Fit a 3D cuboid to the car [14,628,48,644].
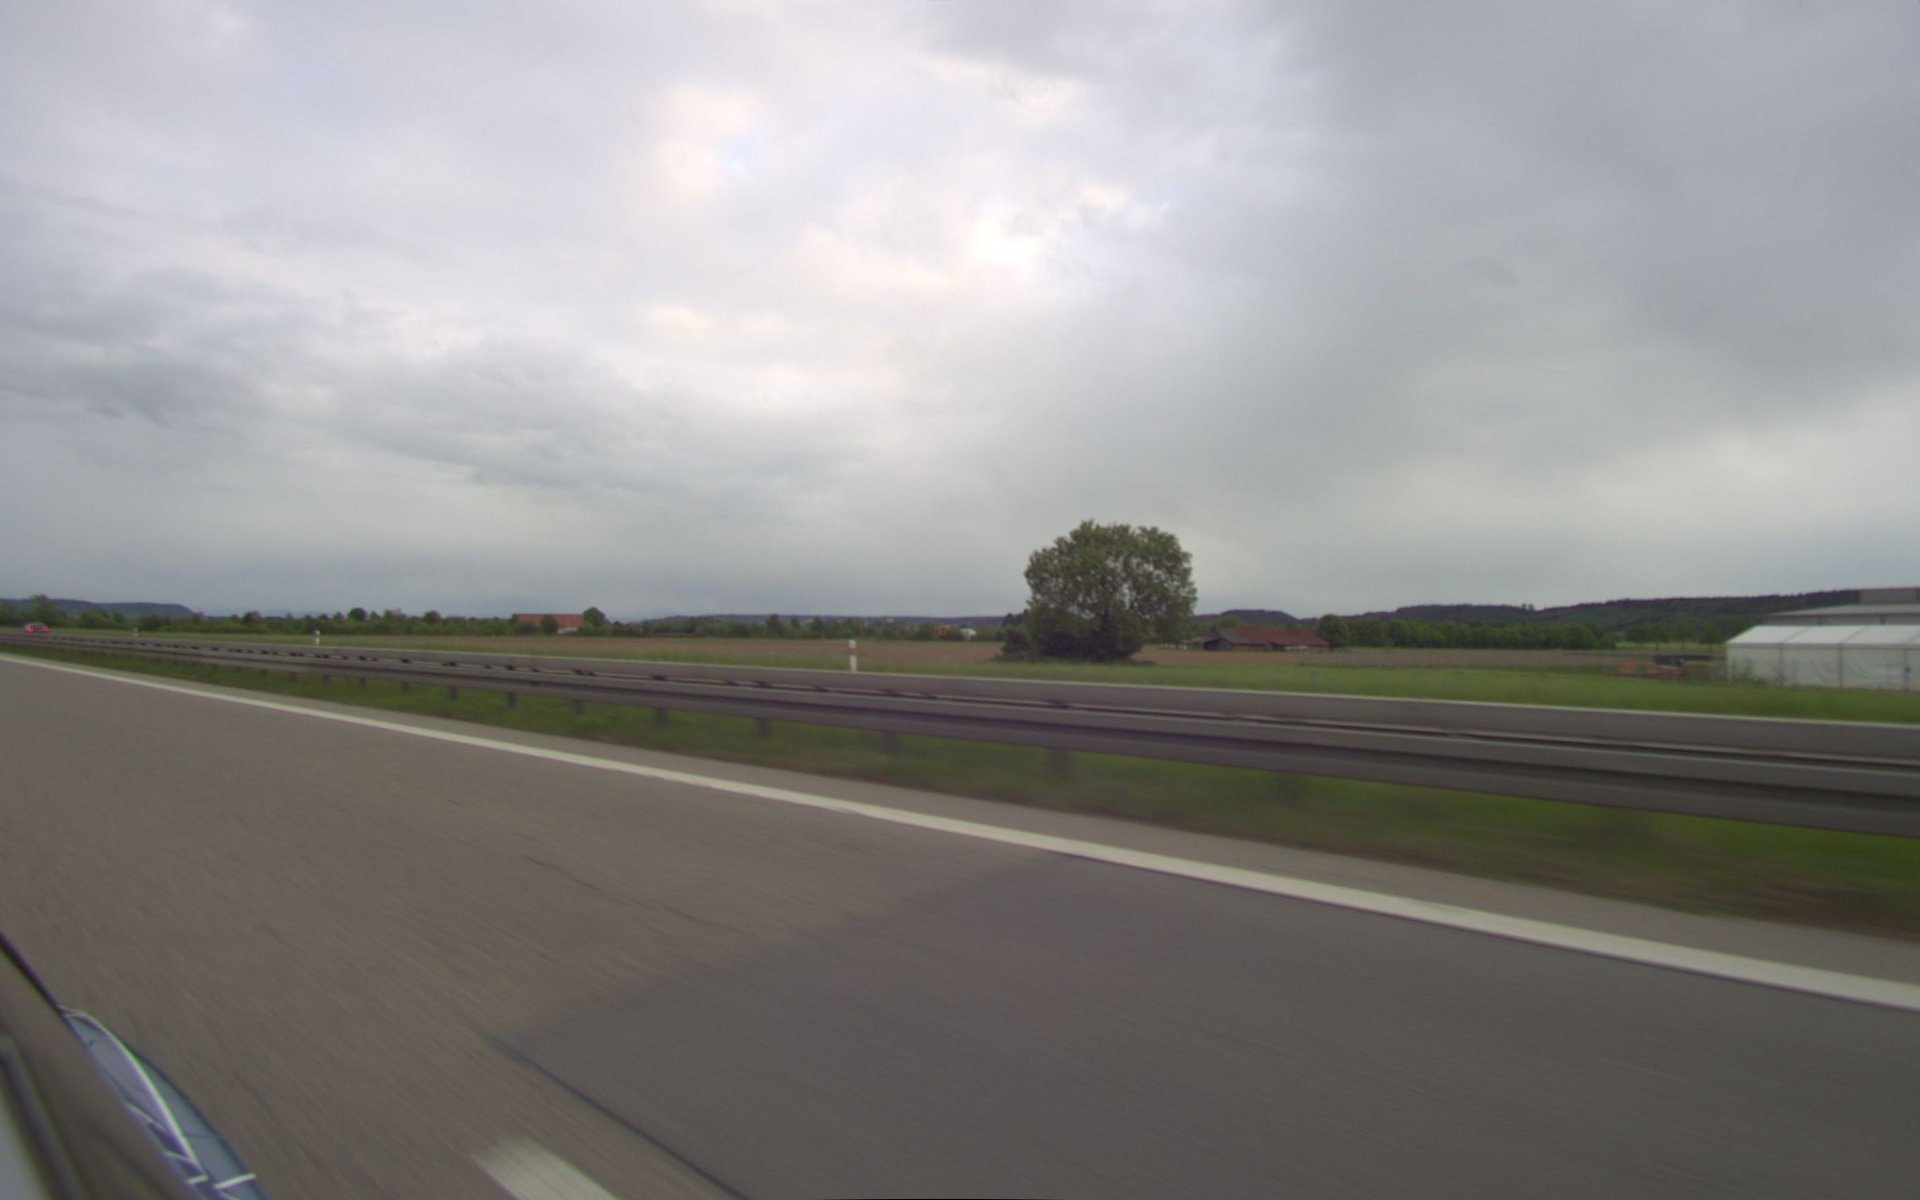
[{"bbox_3d":[-92.949,3.590,101.268,4.520,1.427,1.973,-1,-1,41],"label":"car"}]
